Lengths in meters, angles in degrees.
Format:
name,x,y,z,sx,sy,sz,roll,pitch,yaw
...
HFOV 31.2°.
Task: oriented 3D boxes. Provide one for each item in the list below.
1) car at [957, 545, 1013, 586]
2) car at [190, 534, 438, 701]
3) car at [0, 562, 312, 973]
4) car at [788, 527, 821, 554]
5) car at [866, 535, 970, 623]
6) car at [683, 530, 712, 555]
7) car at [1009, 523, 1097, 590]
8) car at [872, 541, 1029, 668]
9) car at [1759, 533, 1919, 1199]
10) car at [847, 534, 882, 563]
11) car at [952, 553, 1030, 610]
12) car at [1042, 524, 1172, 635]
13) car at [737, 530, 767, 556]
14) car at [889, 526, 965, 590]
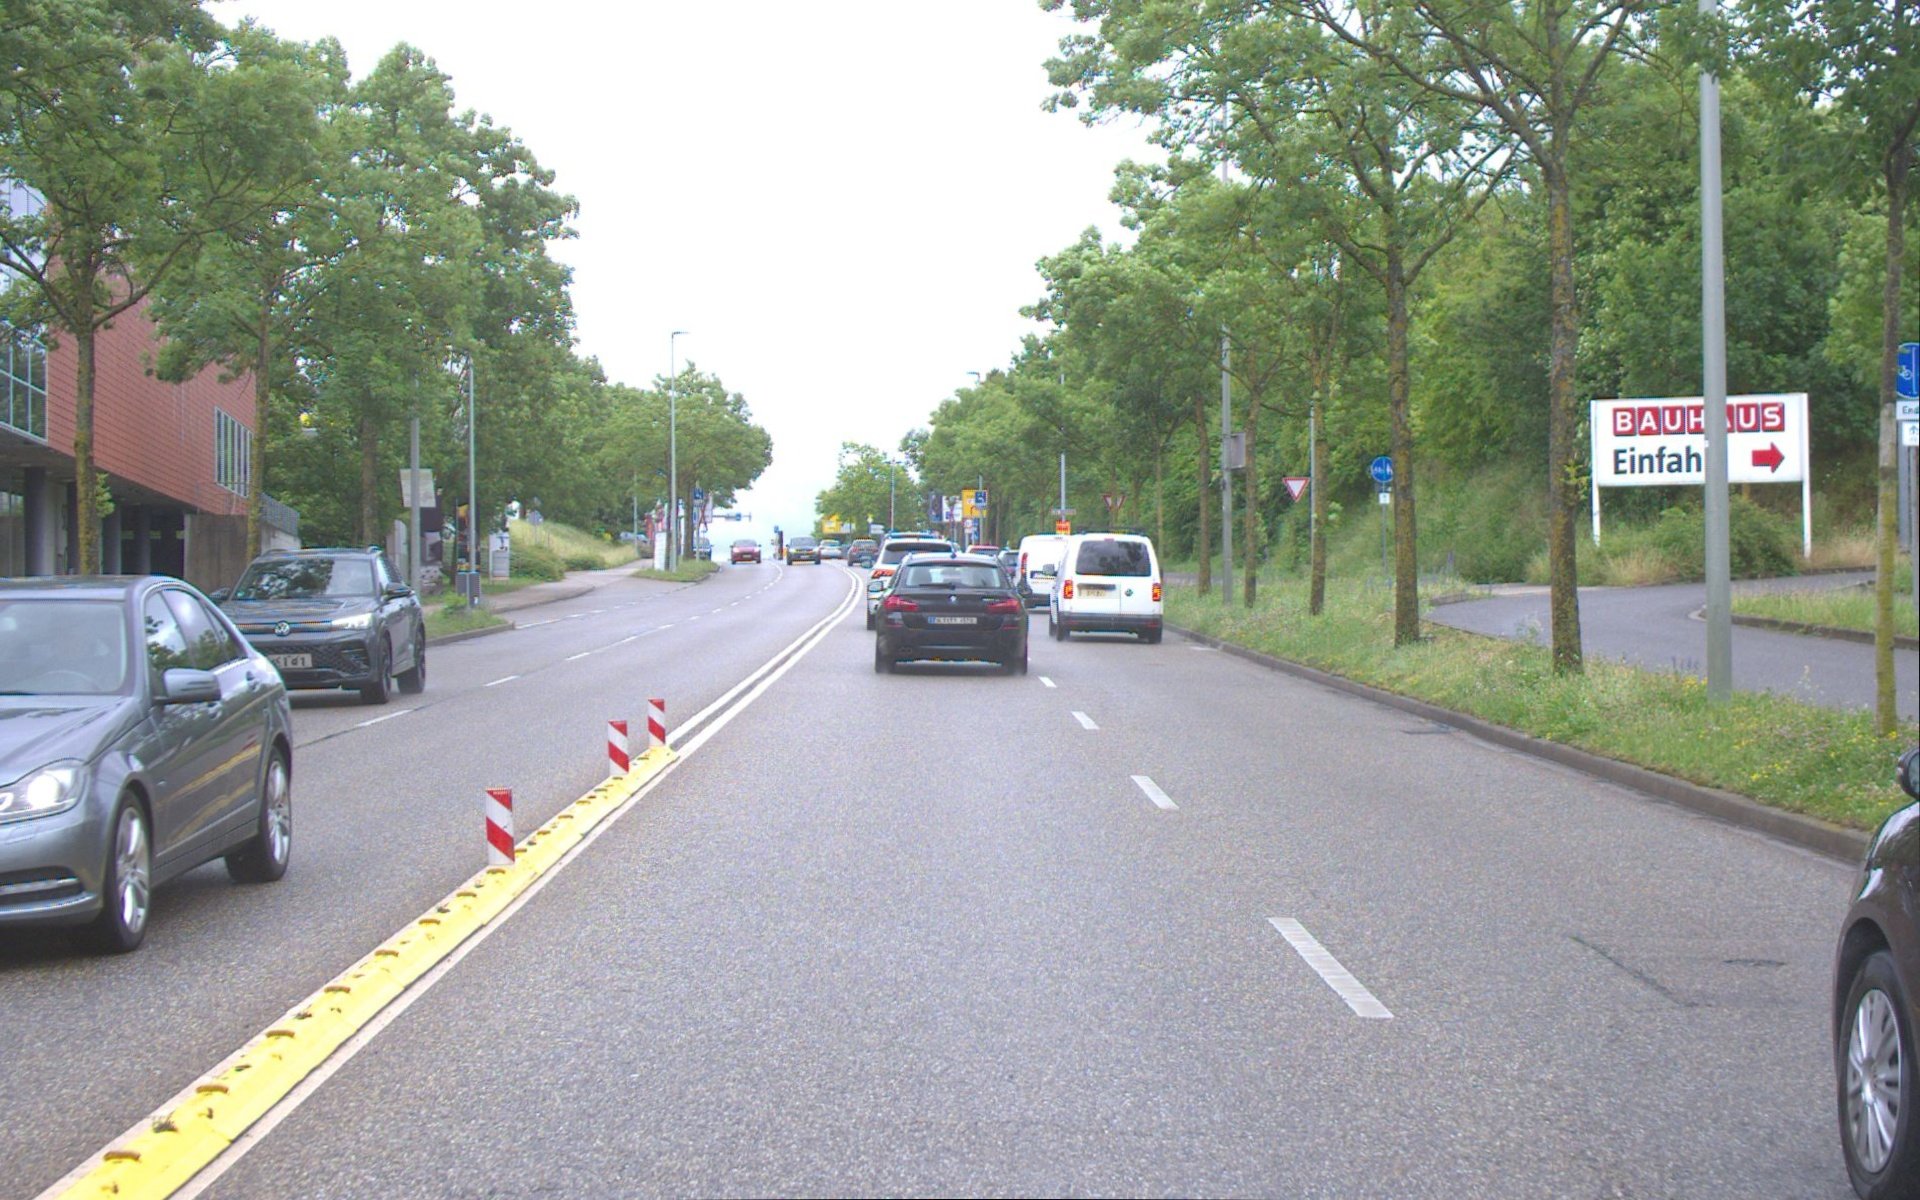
name,x,y,z,sx,sy,sz,roll,pitch,yaw
car,0.954,-1.314,132.024,1.794,1.505,4.001,2,0,-4
car,-6.845,0.143,36.843,1.787,1.608,4.437,-2,1,0
car,-3.951,0.594,14.271,1.667,1.405,4.378,-2,1,0
car,-9.026,-3.430,199.446,1.794,1.505,4.001,2,0,-4
car,-0.770,-0.379,62.783,1.794,1.505,4.000,2,0,-1
car,-16.879,-3.698,220.871,1.794,1.505,4.001,2,0,-4
car,2.173,-1.017,81.336,1.794,1.505,4.000,2,0,-2
car,-0.117,0.015,42.355,1.827,1.463,4.000,1,1,0
car,2.894,0.678,6.390,1.685,1.575,4.219,1,1,-2
car,-5.210,-2.774,187.192,1.794,1.505,4.000,2,0,-2
car,0.835,-0.511,94.553,1.794,1.505,4.001,2,0,-4
car,2.442,-0.374,57.897,1.827,1.753,4.001,2,1,-2
car,-12.880,-3.506,213.032,1.794,1.505,4.001,2,0,-4
car,-0.830,-1.036,85.371,1.794,1.505,4.000,2,0,-1
